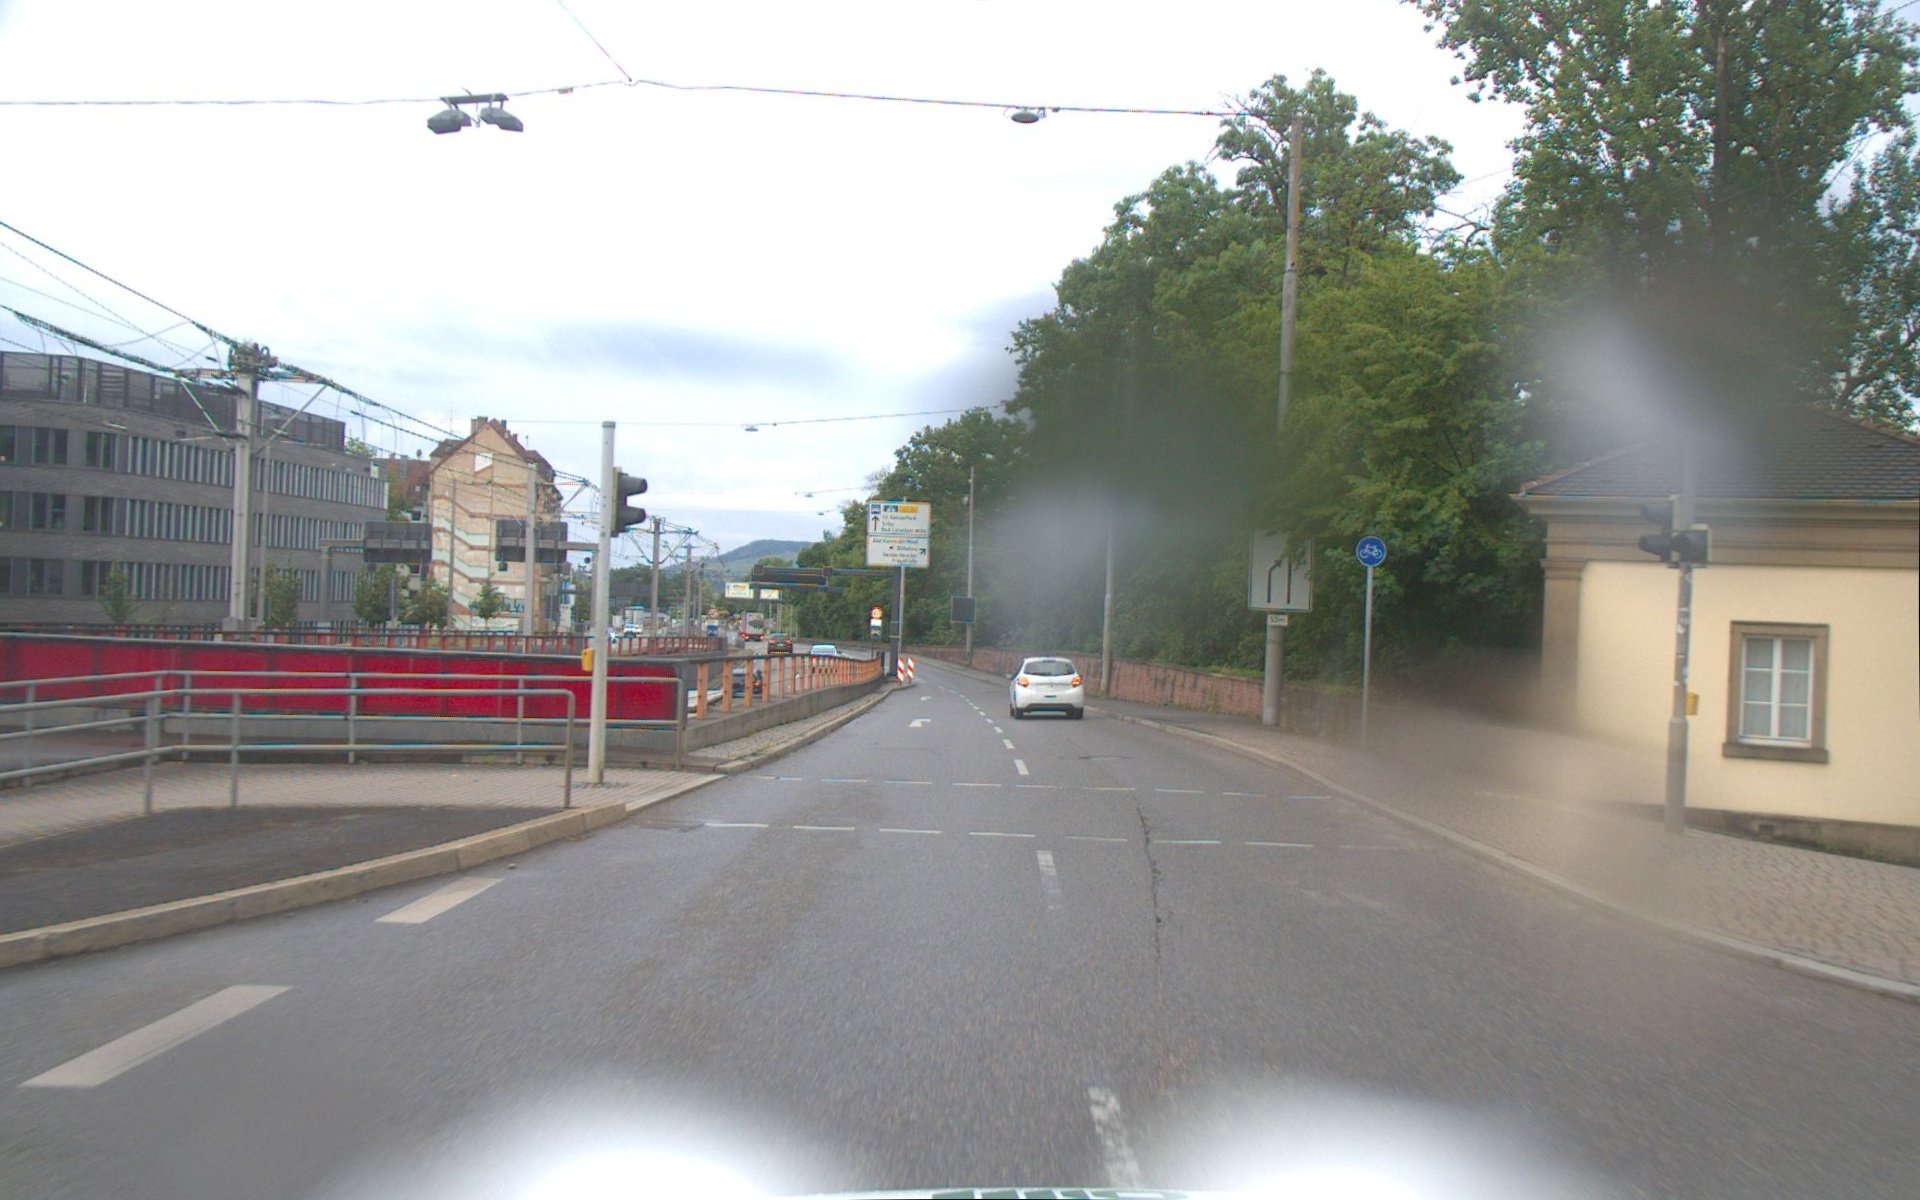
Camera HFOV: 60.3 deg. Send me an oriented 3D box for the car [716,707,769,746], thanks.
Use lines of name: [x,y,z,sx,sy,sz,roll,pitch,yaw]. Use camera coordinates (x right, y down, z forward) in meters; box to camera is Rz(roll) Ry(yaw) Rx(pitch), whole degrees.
car: [-9.820,5.703,74.860,1.953,1.603,3.998,0,-3,-1]

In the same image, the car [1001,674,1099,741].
car: [2.168,2.697,40.841,1.917,1.514,3.996,2,-5,-3]

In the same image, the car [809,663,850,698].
car: [-7.503,4.604,94.766,2.043,1.905,4.087,1,-3,-9]

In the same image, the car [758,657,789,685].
car: [-13.148,5.005,116.276,1.957,1.905,3.990,1,-3,-10]

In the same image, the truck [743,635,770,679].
truck: [-28.417,8.027,230.621,3.400,5.497,12.025,2,-5,-8]
